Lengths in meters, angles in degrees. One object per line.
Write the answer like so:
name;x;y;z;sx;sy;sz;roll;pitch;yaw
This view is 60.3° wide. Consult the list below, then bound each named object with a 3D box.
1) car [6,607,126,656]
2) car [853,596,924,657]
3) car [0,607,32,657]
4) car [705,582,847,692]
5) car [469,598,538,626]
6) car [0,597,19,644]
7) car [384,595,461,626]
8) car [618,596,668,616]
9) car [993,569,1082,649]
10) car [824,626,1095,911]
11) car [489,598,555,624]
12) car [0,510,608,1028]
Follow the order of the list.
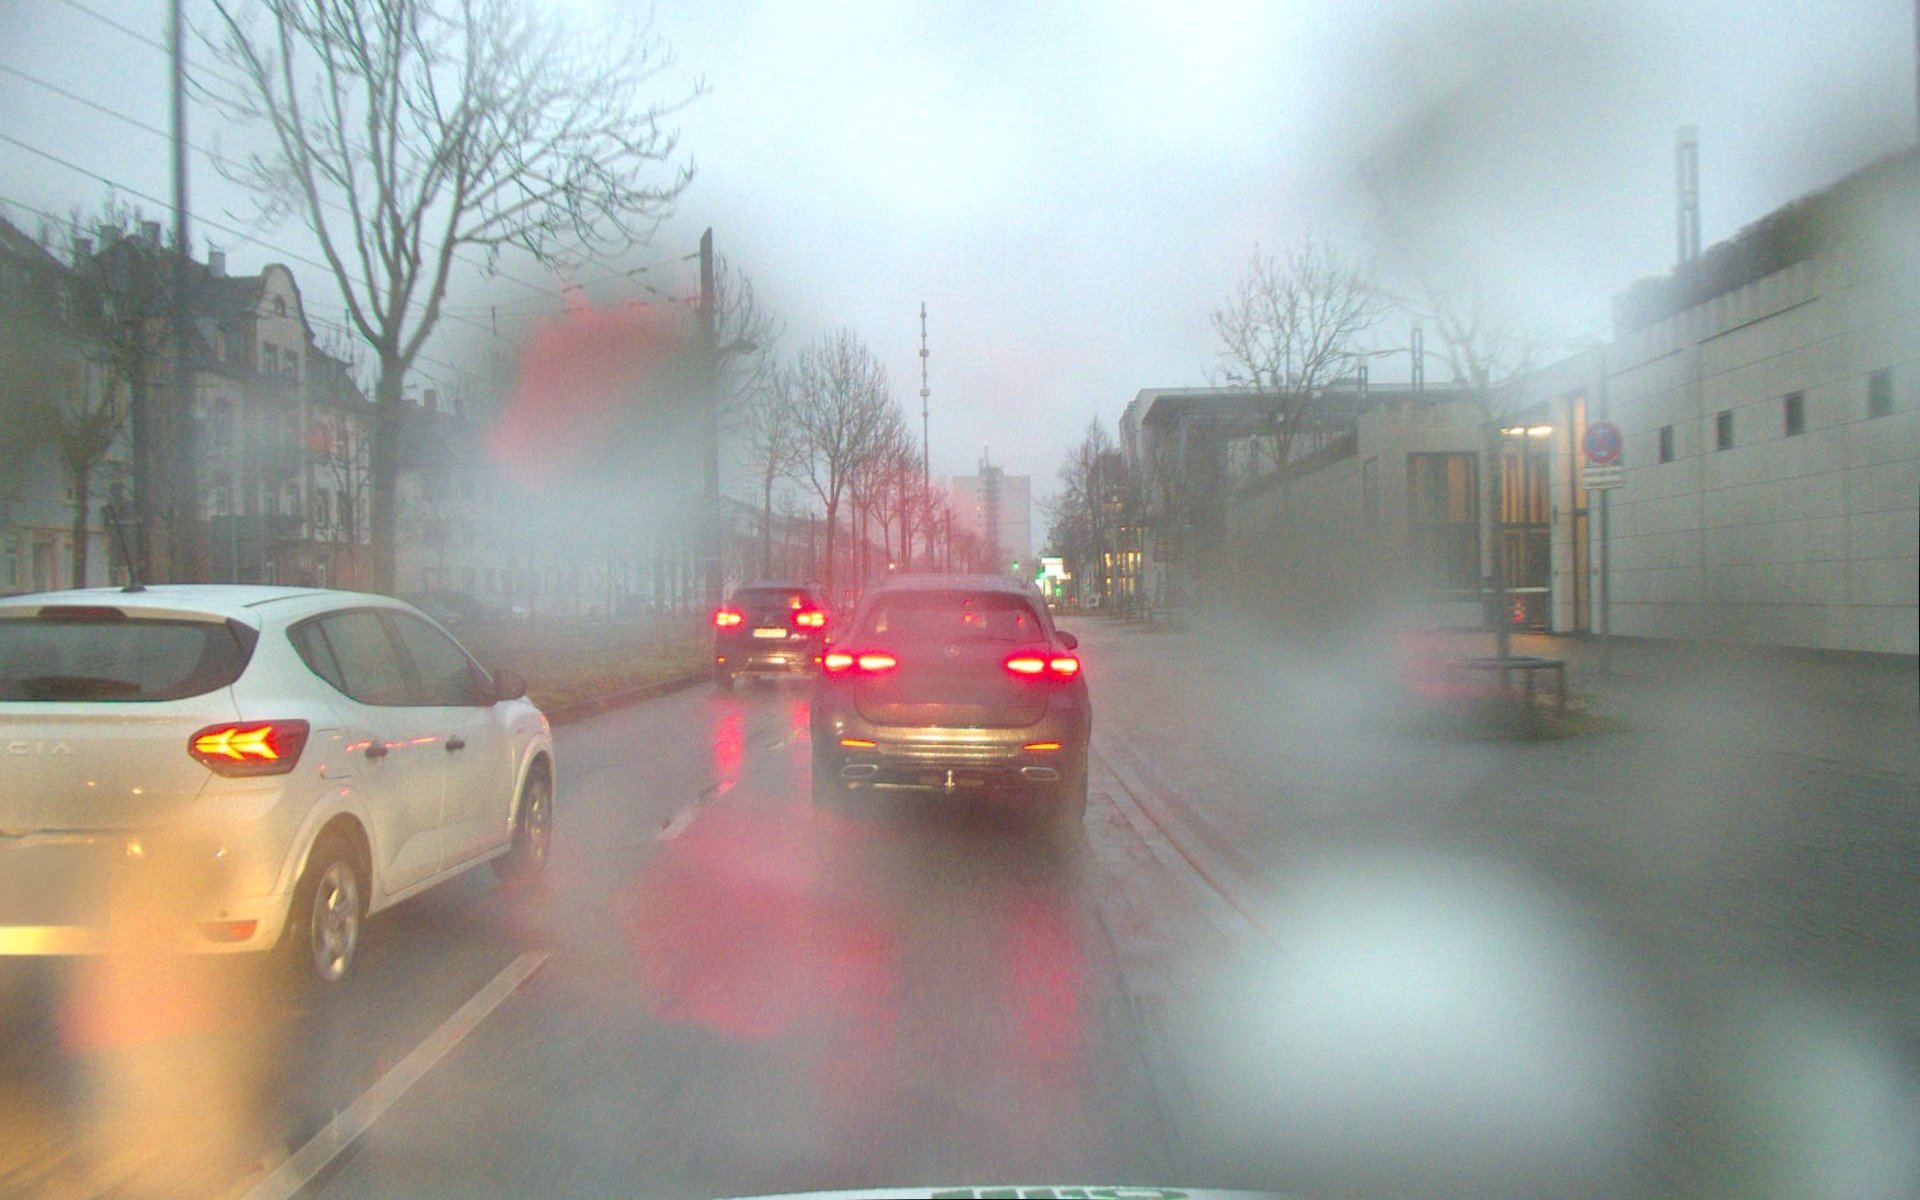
car;-28.046;0.969;52.016;1.739;1.377;3.558;-2;1;2
car;-1.954;0.710;46.242;1.637;1.628;4.055;0;0;3
car;-28.212;0.955;46.821;1.739;1.377;3.558;-2;1;2
car;-2.873;0.542;26.583;1.637;1.628;4.055;0;0;3
car;-24.612;0.648;89.092;3.485;1.377;1.775;-1;1;36
car;-32.236;0.720;53.252;1.739;1.526;3.558;-2;1;2
car;-25.484;0.517;78.389;3.485;1.377;1.775;-1;1;36
car;-23.670;0.432;123.524;3.485;1.377;1.775;-1;1;36
car;1.848;0.187;39.356;1.952;1.774;4.002;-1;0;3
car;0.091;1.046;12.003;1.637;1.628;4.055;0;0;3
car;-24.560;0.635;92.703;3.485;1.377;1.775;-1;1;36
car;-2.815;0.523;7.233;1.637;1.628;4.054;0;0;1
